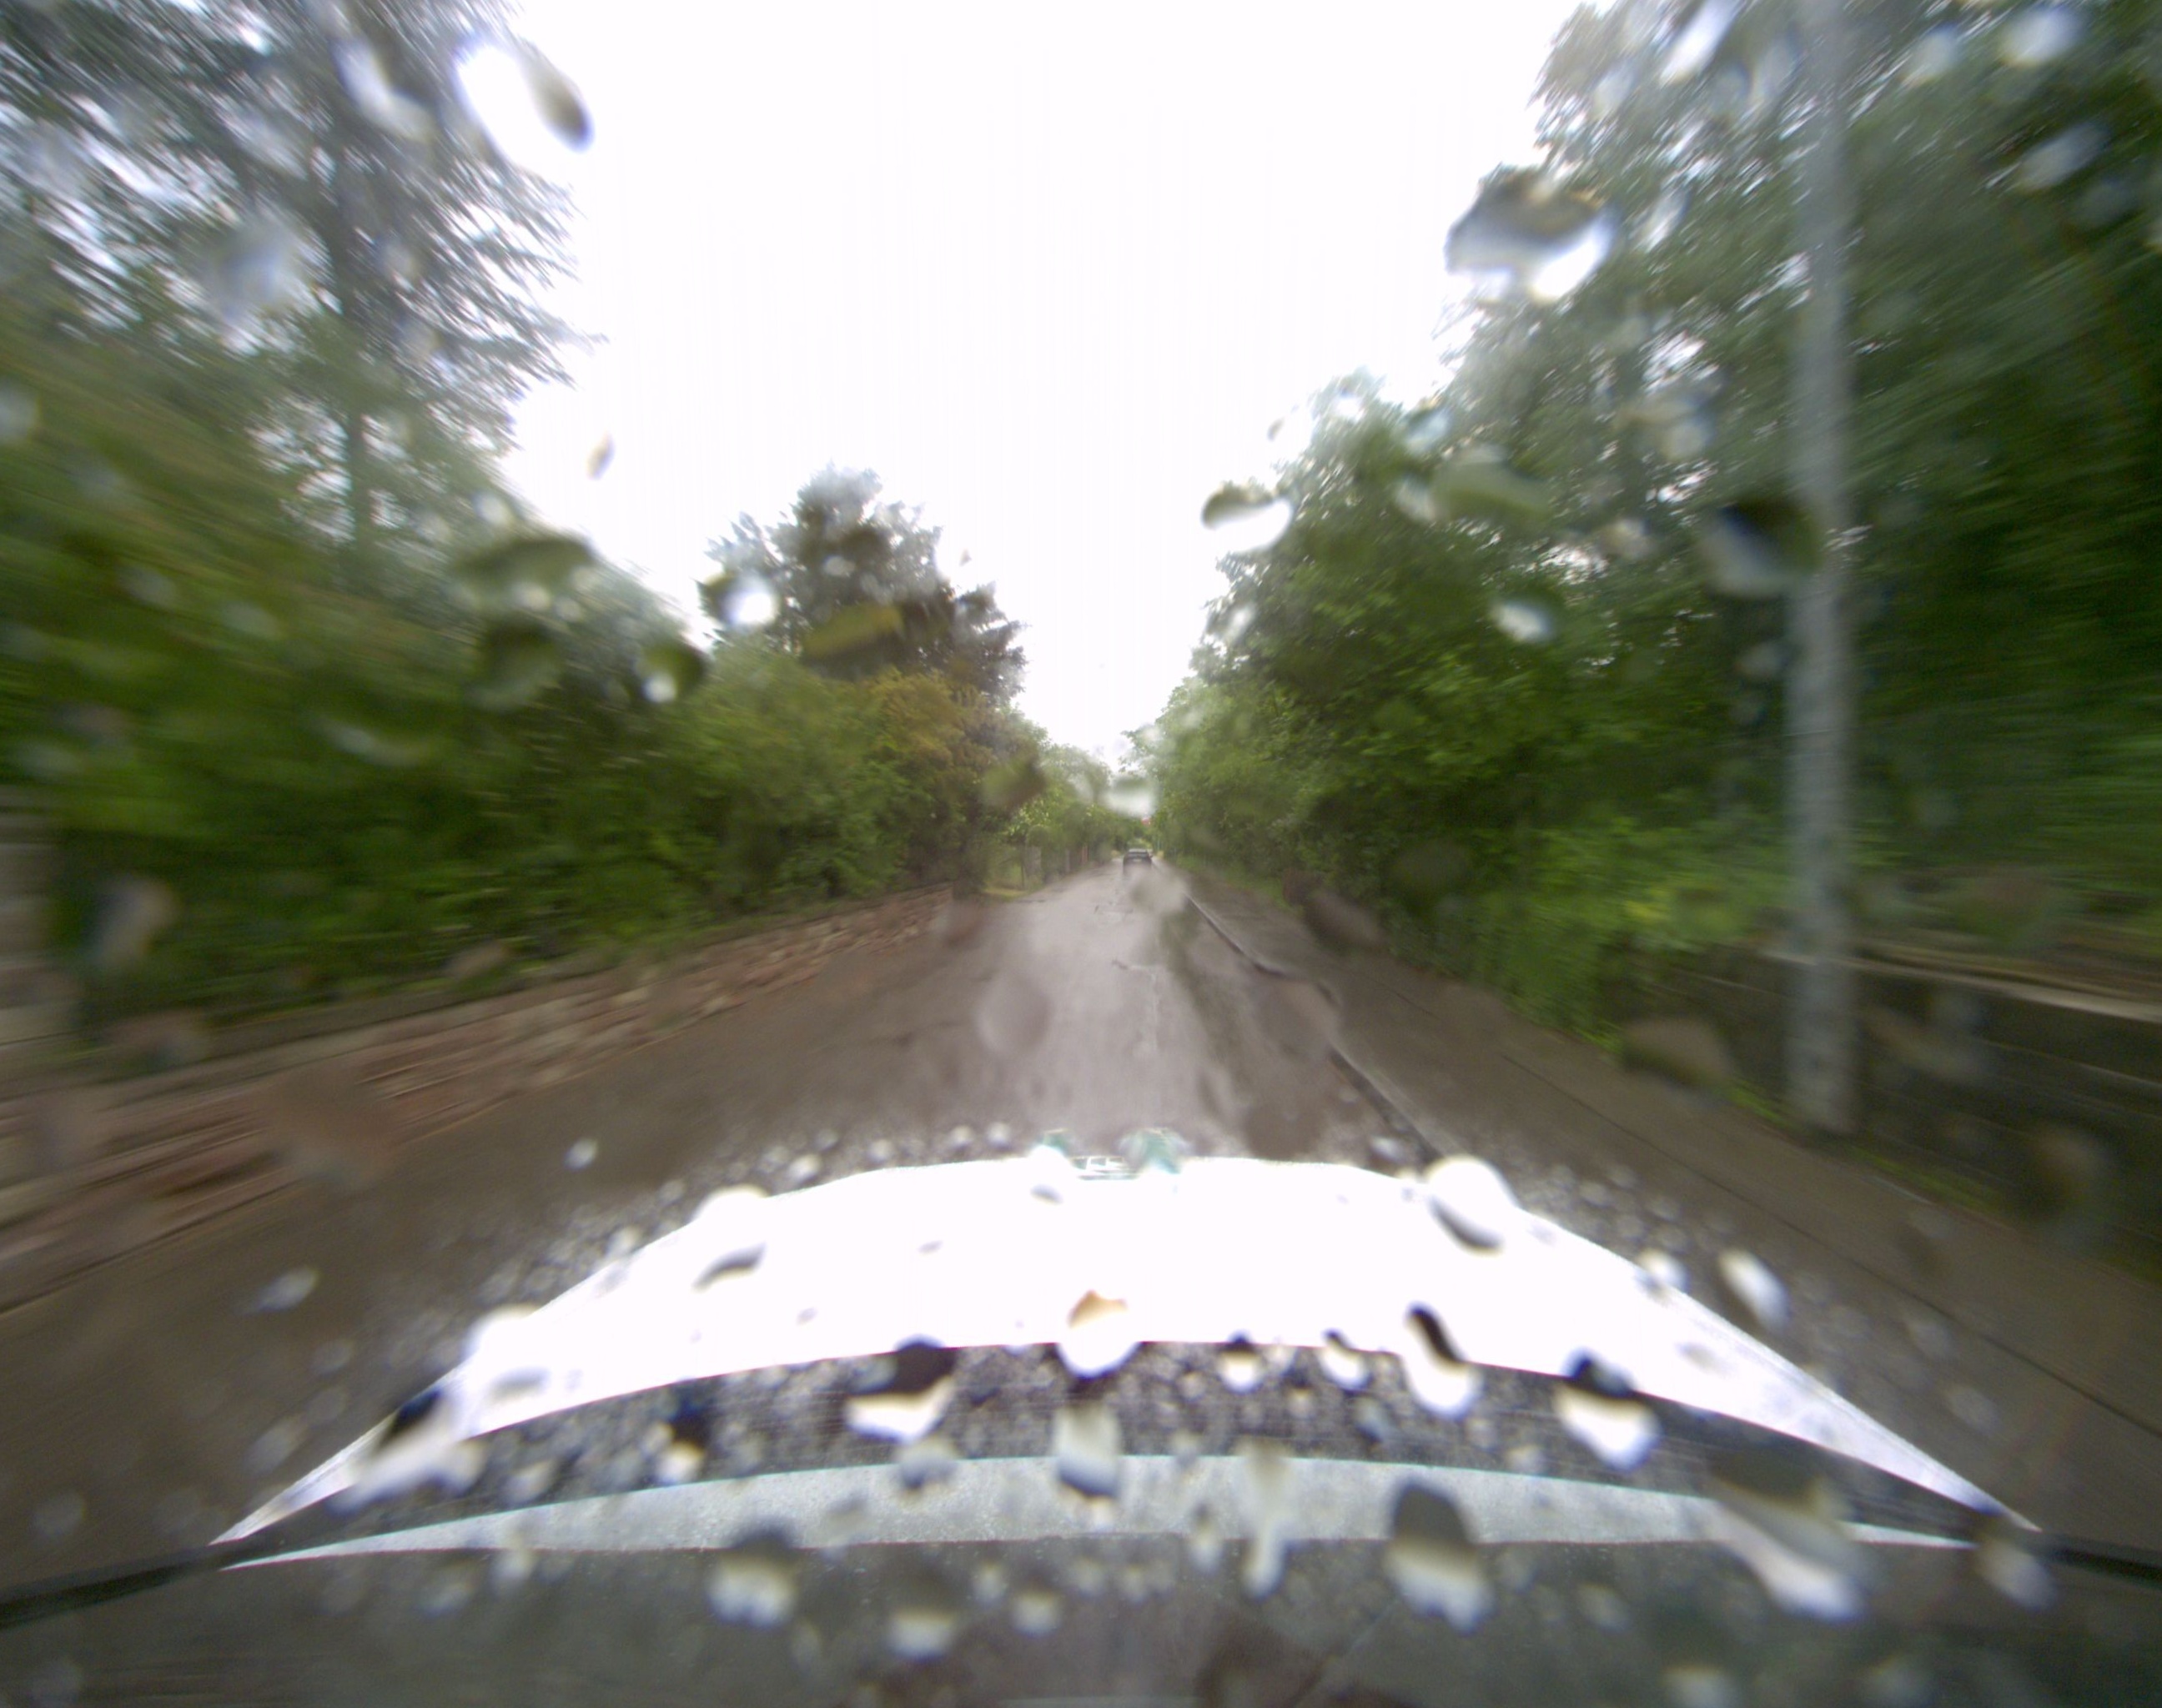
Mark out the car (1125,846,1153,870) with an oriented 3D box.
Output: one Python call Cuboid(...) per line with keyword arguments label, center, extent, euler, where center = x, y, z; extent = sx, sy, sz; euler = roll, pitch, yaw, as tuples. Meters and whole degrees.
Cuboid(label="car", center=(3.654, 0.236, 50.778), extent=(1.626, 1.450, 3.550), euler=(0, -1, 6))
